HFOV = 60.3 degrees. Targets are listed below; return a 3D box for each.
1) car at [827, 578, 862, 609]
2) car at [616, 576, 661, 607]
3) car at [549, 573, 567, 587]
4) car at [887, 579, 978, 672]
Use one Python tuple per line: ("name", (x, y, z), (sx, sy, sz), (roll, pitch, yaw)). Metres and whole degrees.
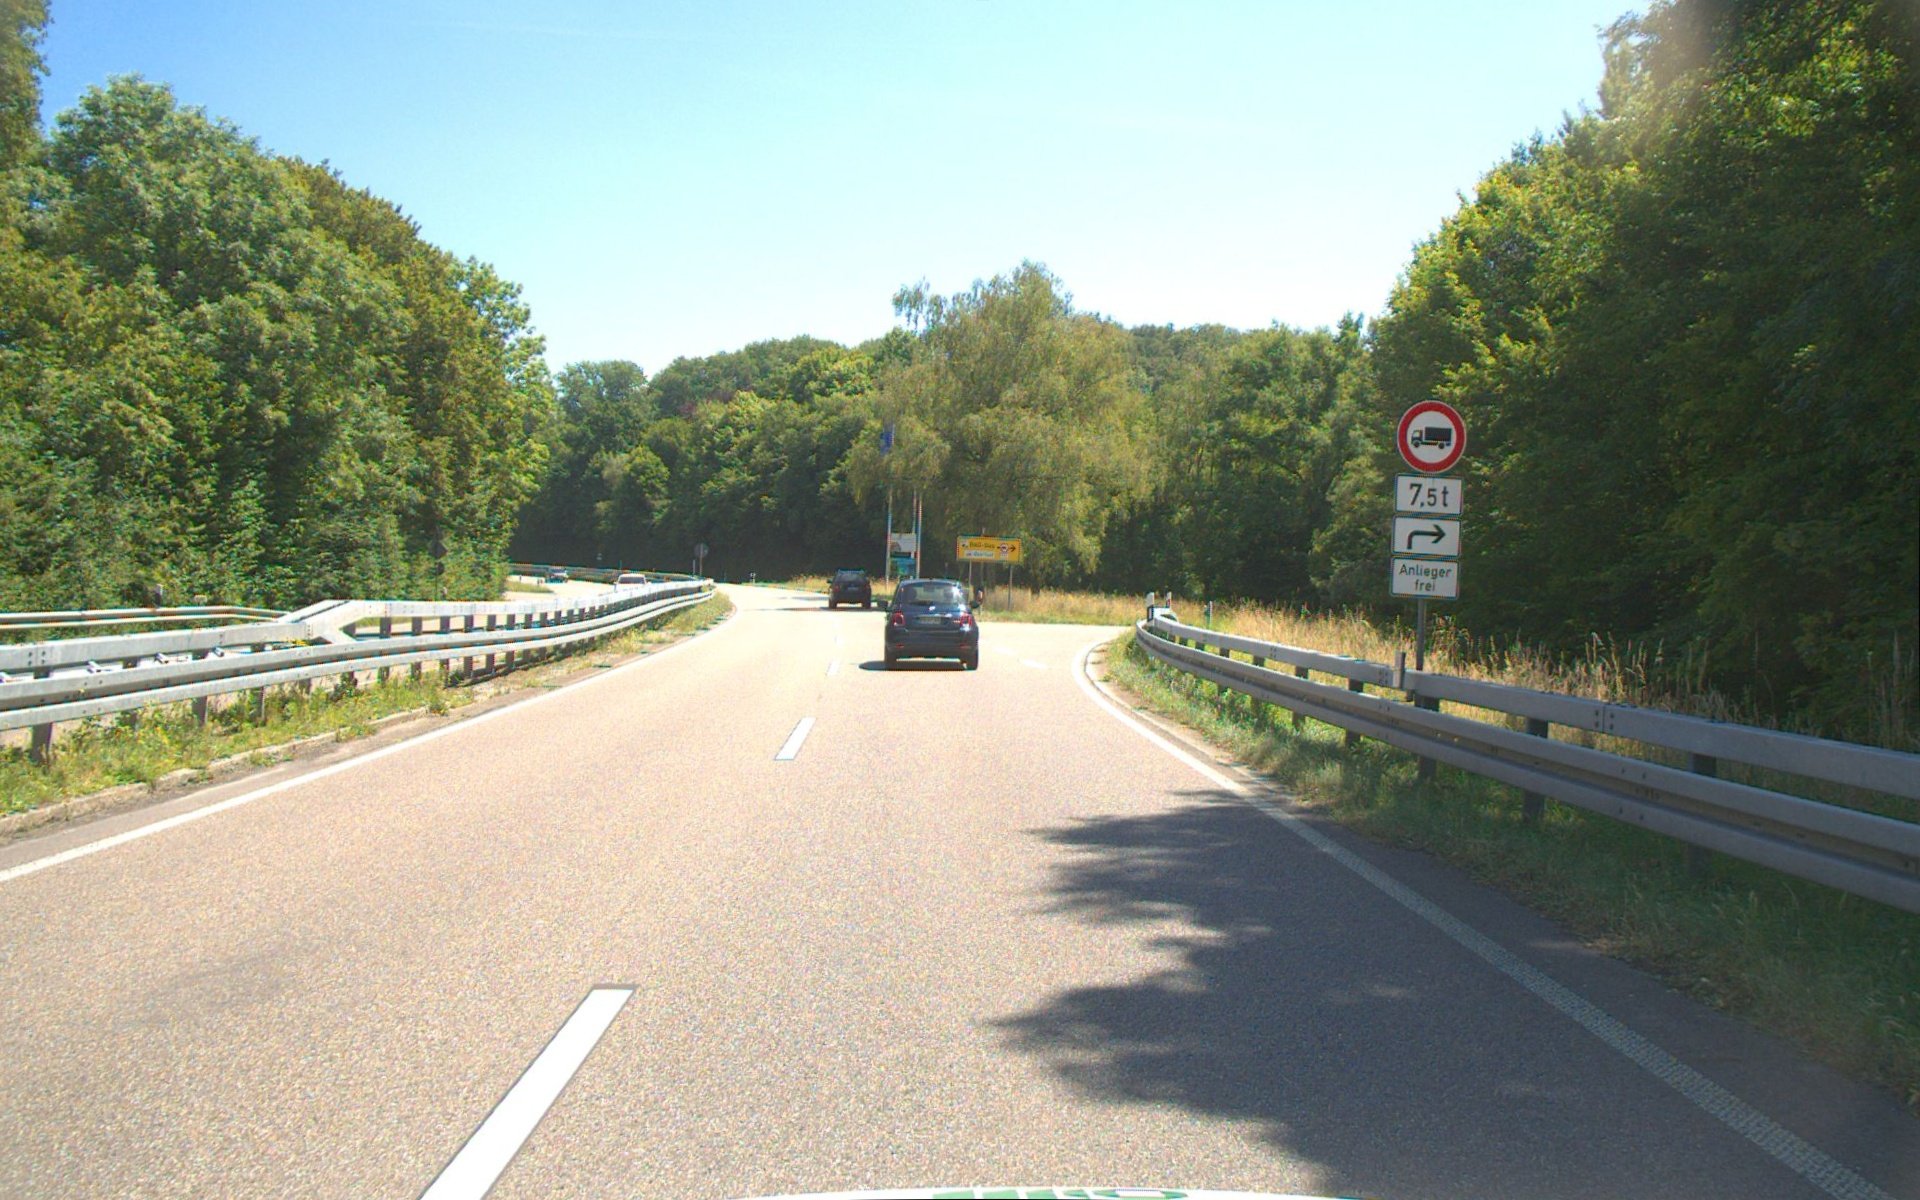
("car", (-5.200, -0.315, 74.303), (1.495, 1.336, 3.412), (0, 1, -5))
("car", (-16.784, -0.465, 86.540), (1.721, 1.600, 4.411), (0, 1, -3))
("car", (-41.684, -2.114, 171.490), (1.419, 1.405, 3.827), (0, 1, -20))
("car", (-0.459, 0.393, 28.906), (1.482, 1.527, 3.590), (0, 1, 0))
